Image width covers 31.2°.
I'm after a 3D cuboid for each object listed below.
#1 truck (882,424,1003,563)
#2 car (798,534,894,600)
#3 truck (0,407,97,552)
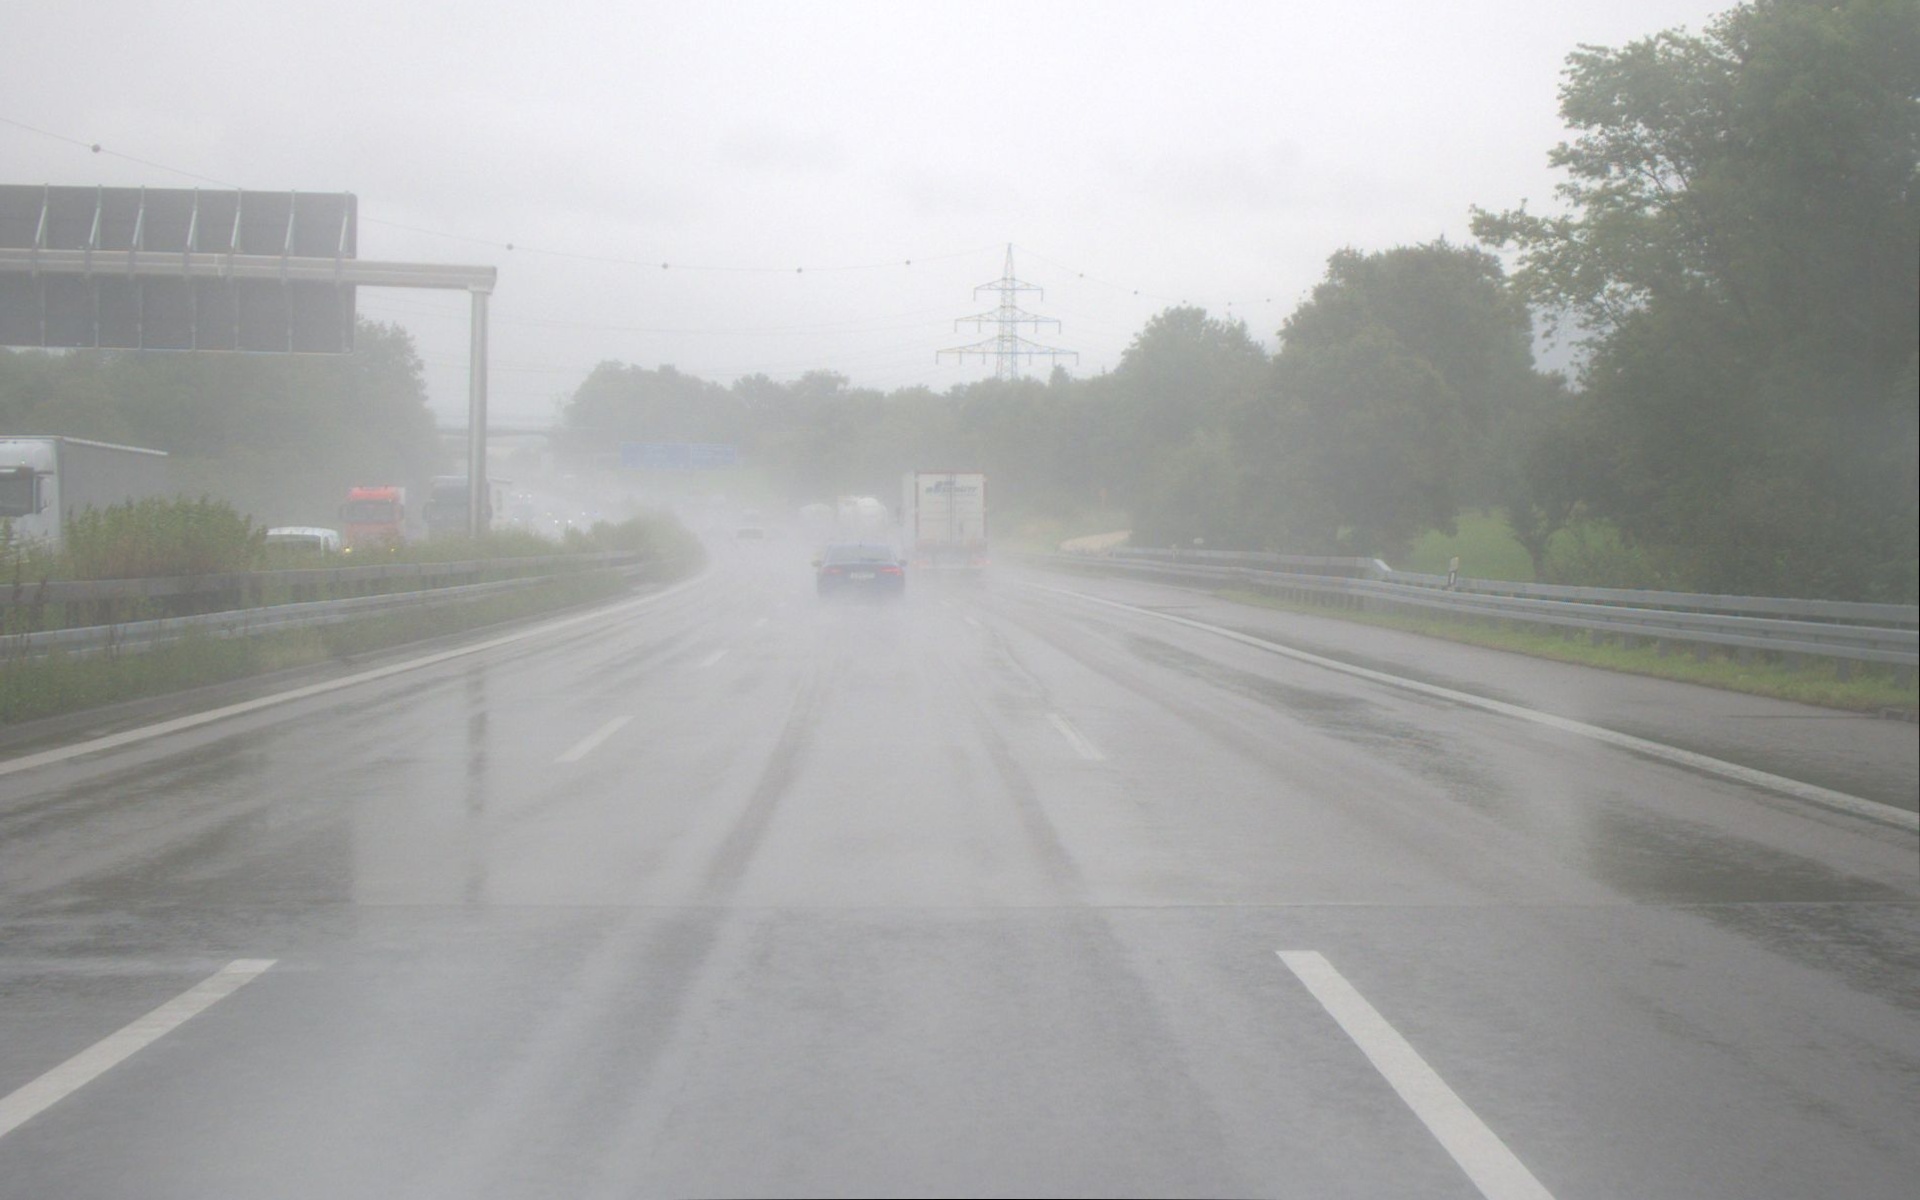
[{"bbox_3d":[-0.682,-4.098,132.157,4.256,4.955,17.342,-1,2,0],"label":"truck"},{"bbox_3d":[-2.302,-0.691,70.148,1.748,1.208,4.000,3,1,0],"label":"car"},{"bbox_3d":[-23.104,-2.957,84.178,2.667,3.405,5.528,2,1,-2],"label":"truck"}]
